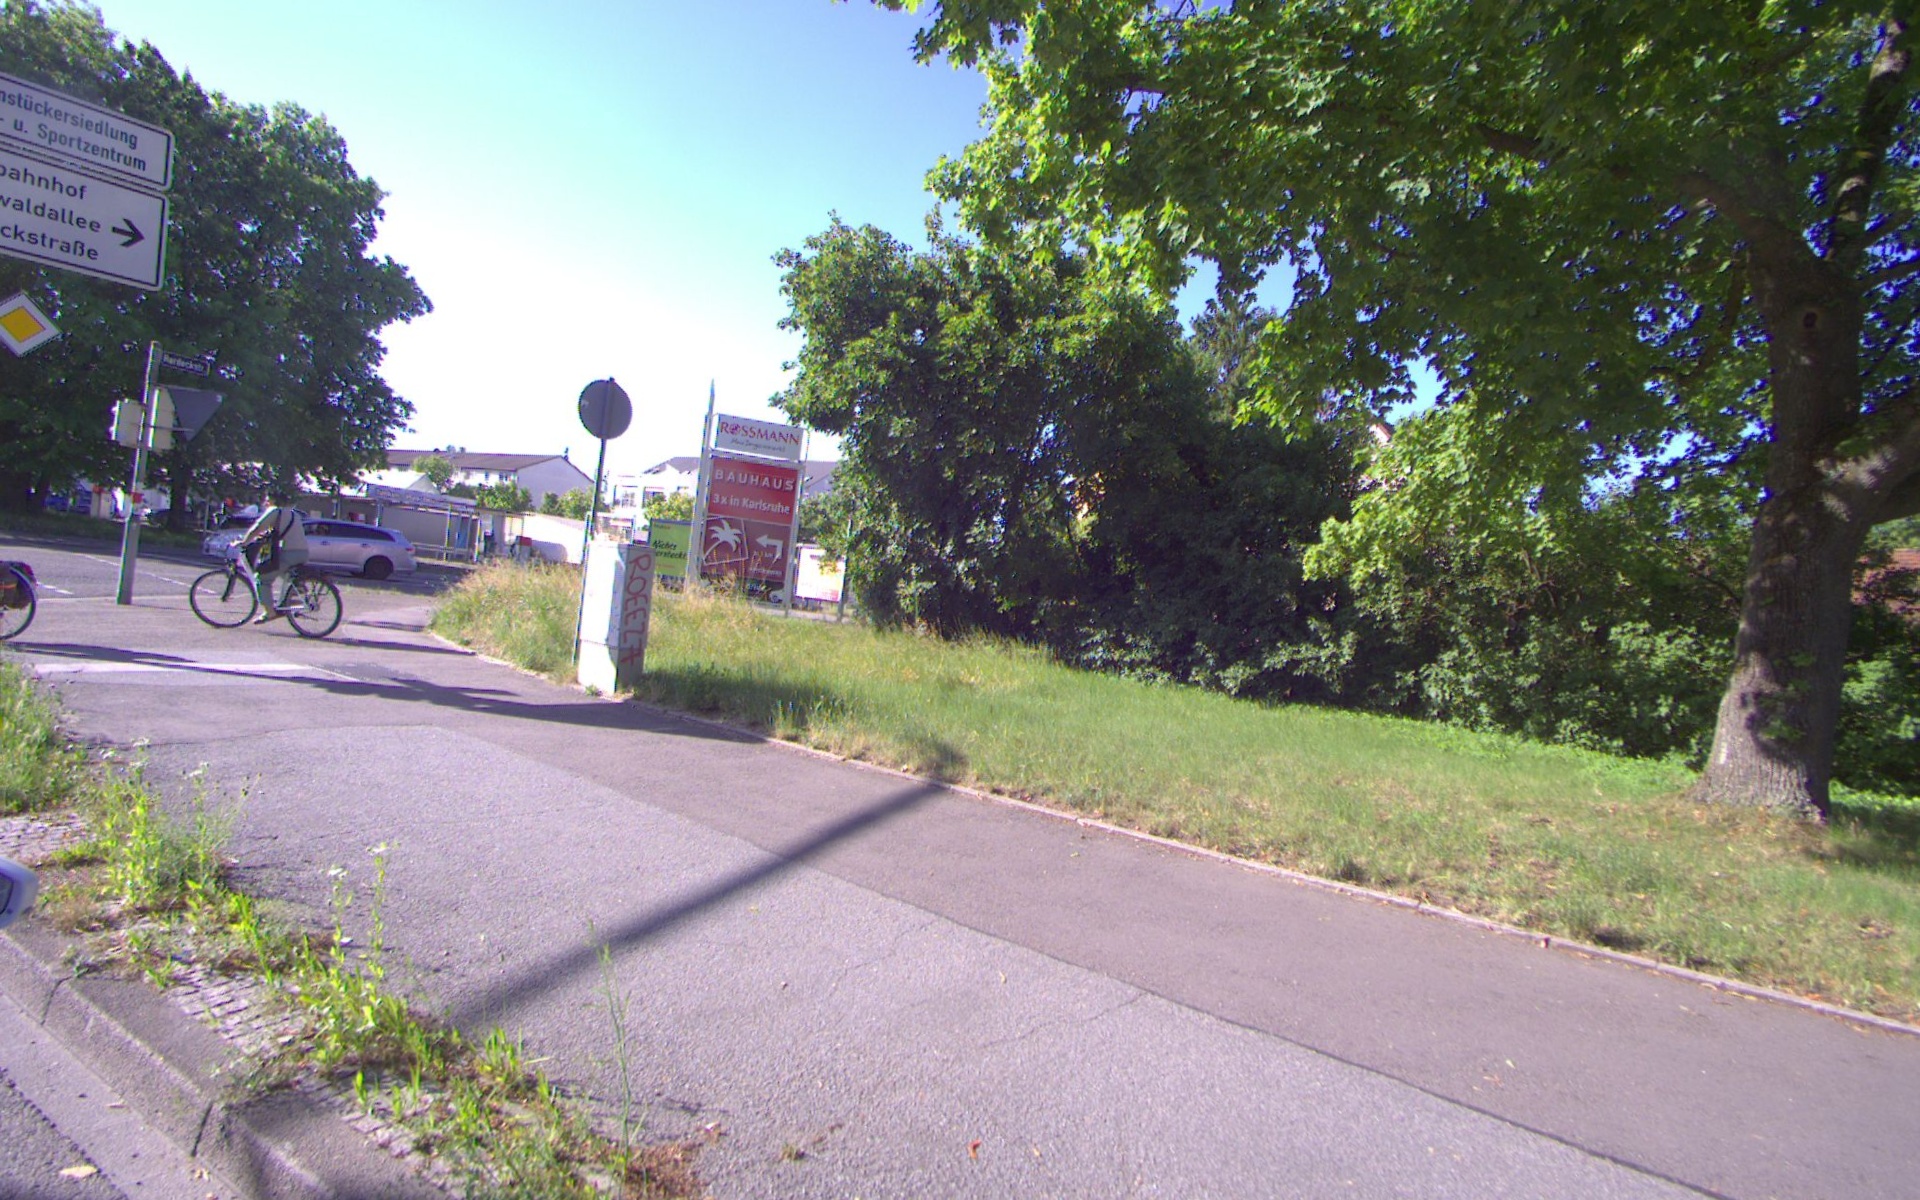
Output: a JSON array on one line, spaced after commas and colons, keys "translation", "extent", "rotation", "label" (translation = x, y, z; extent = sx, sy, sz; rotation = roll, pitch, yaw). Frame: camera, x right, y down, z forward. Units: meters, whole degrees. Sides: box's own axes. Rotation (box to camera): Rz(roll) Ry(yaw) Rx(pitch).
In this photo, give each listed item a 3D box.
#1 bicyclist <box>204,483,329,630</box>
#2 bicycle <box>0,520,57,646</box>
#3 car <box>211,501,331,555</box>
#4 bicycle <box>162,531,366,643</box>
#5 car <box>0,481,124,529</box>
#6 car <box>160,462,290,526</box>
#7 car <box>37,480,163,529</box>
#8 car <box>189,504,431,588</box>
[{"translation": [-8.087, -0.496, 11.750], "extent": [0.978, 1.602, 0.580], "rotation": [4, 2, 2], "label": "bicyclist"}, {"translation": [-9.313, -0.218, 9.013], "extent": [1.746, 1.112, 0.536], "rotation": [4, 2, -12], "label": "bicycle"}, {"translation": [-28.675, -2.962, 42.029], "extent": [1.712, 1.701, 4.001], "rotation": [7, 0, 9], "label": "car"}, {"translation": [-8.114, -0.150, 11.761], "extent": [1.950, 1.112, 0.580], "rotation": [5, 2, 2], "label": "bicycle"}, {"translation": [-40.368, -4.243, 45.298], "extent": [1.712, 1.537, 3.902], "rotation": [7, 0, 9], "label": "car"}, {"translation": [-30.606, -4.364, 42.036], "extent": [1.962, 1.769, 4.007], "rotation": [7, -3, 9], "label": "car"}, {"translation": [-37.559, -4.118, 44.067], "extent": [1.712, 1.537, 3.902], "rotation": [7, 0, 9], "label": "car"}, {"translation": [-17.050, -1.375, 26.607], "extent": [1.973, 1.504, 4.993], "rotation": [7, 0, 43], "label": "car"}]
